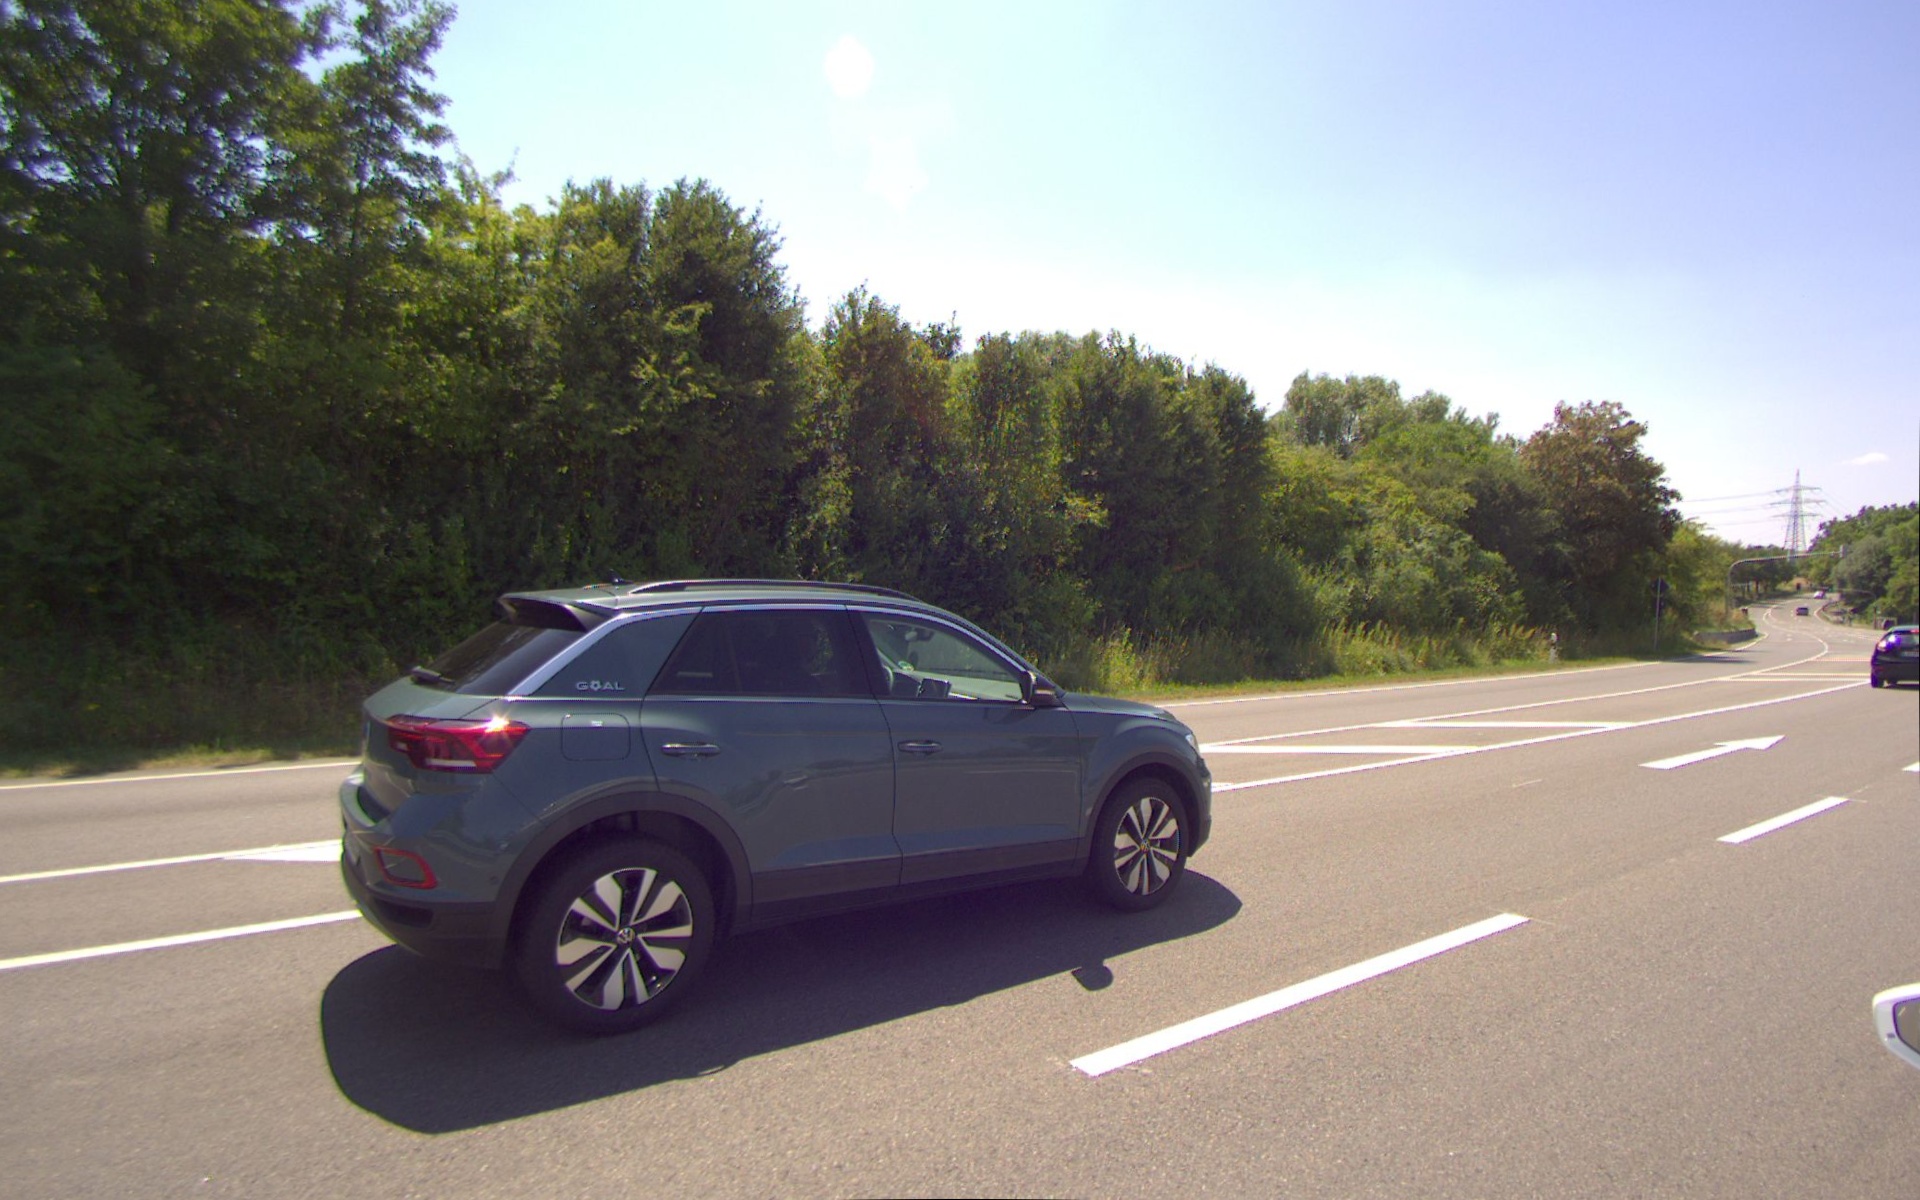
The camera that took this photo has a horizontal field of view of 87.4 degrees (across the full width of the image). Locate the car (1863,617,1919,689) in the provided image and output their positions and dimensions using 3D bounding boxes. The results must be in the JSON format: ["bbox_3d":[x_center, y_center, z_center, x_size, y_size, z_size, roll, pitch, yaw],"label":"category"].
[{"bbox_3d":[23.264,1.227,24.230,4.172,1.514,1.639,-1,2,-40],"label":"car"}]

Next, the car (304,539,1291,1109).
[{"bbox_3d":[-0.548,0.659,4.828,4.346,1.607,1.823,1,0,-34],"label":"car"}]

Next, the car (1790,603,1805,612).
[{"bbox_3d":[159.533,1.494,191.283,1.972,1.706,3.977,1,0,43],"label":"car"}]
